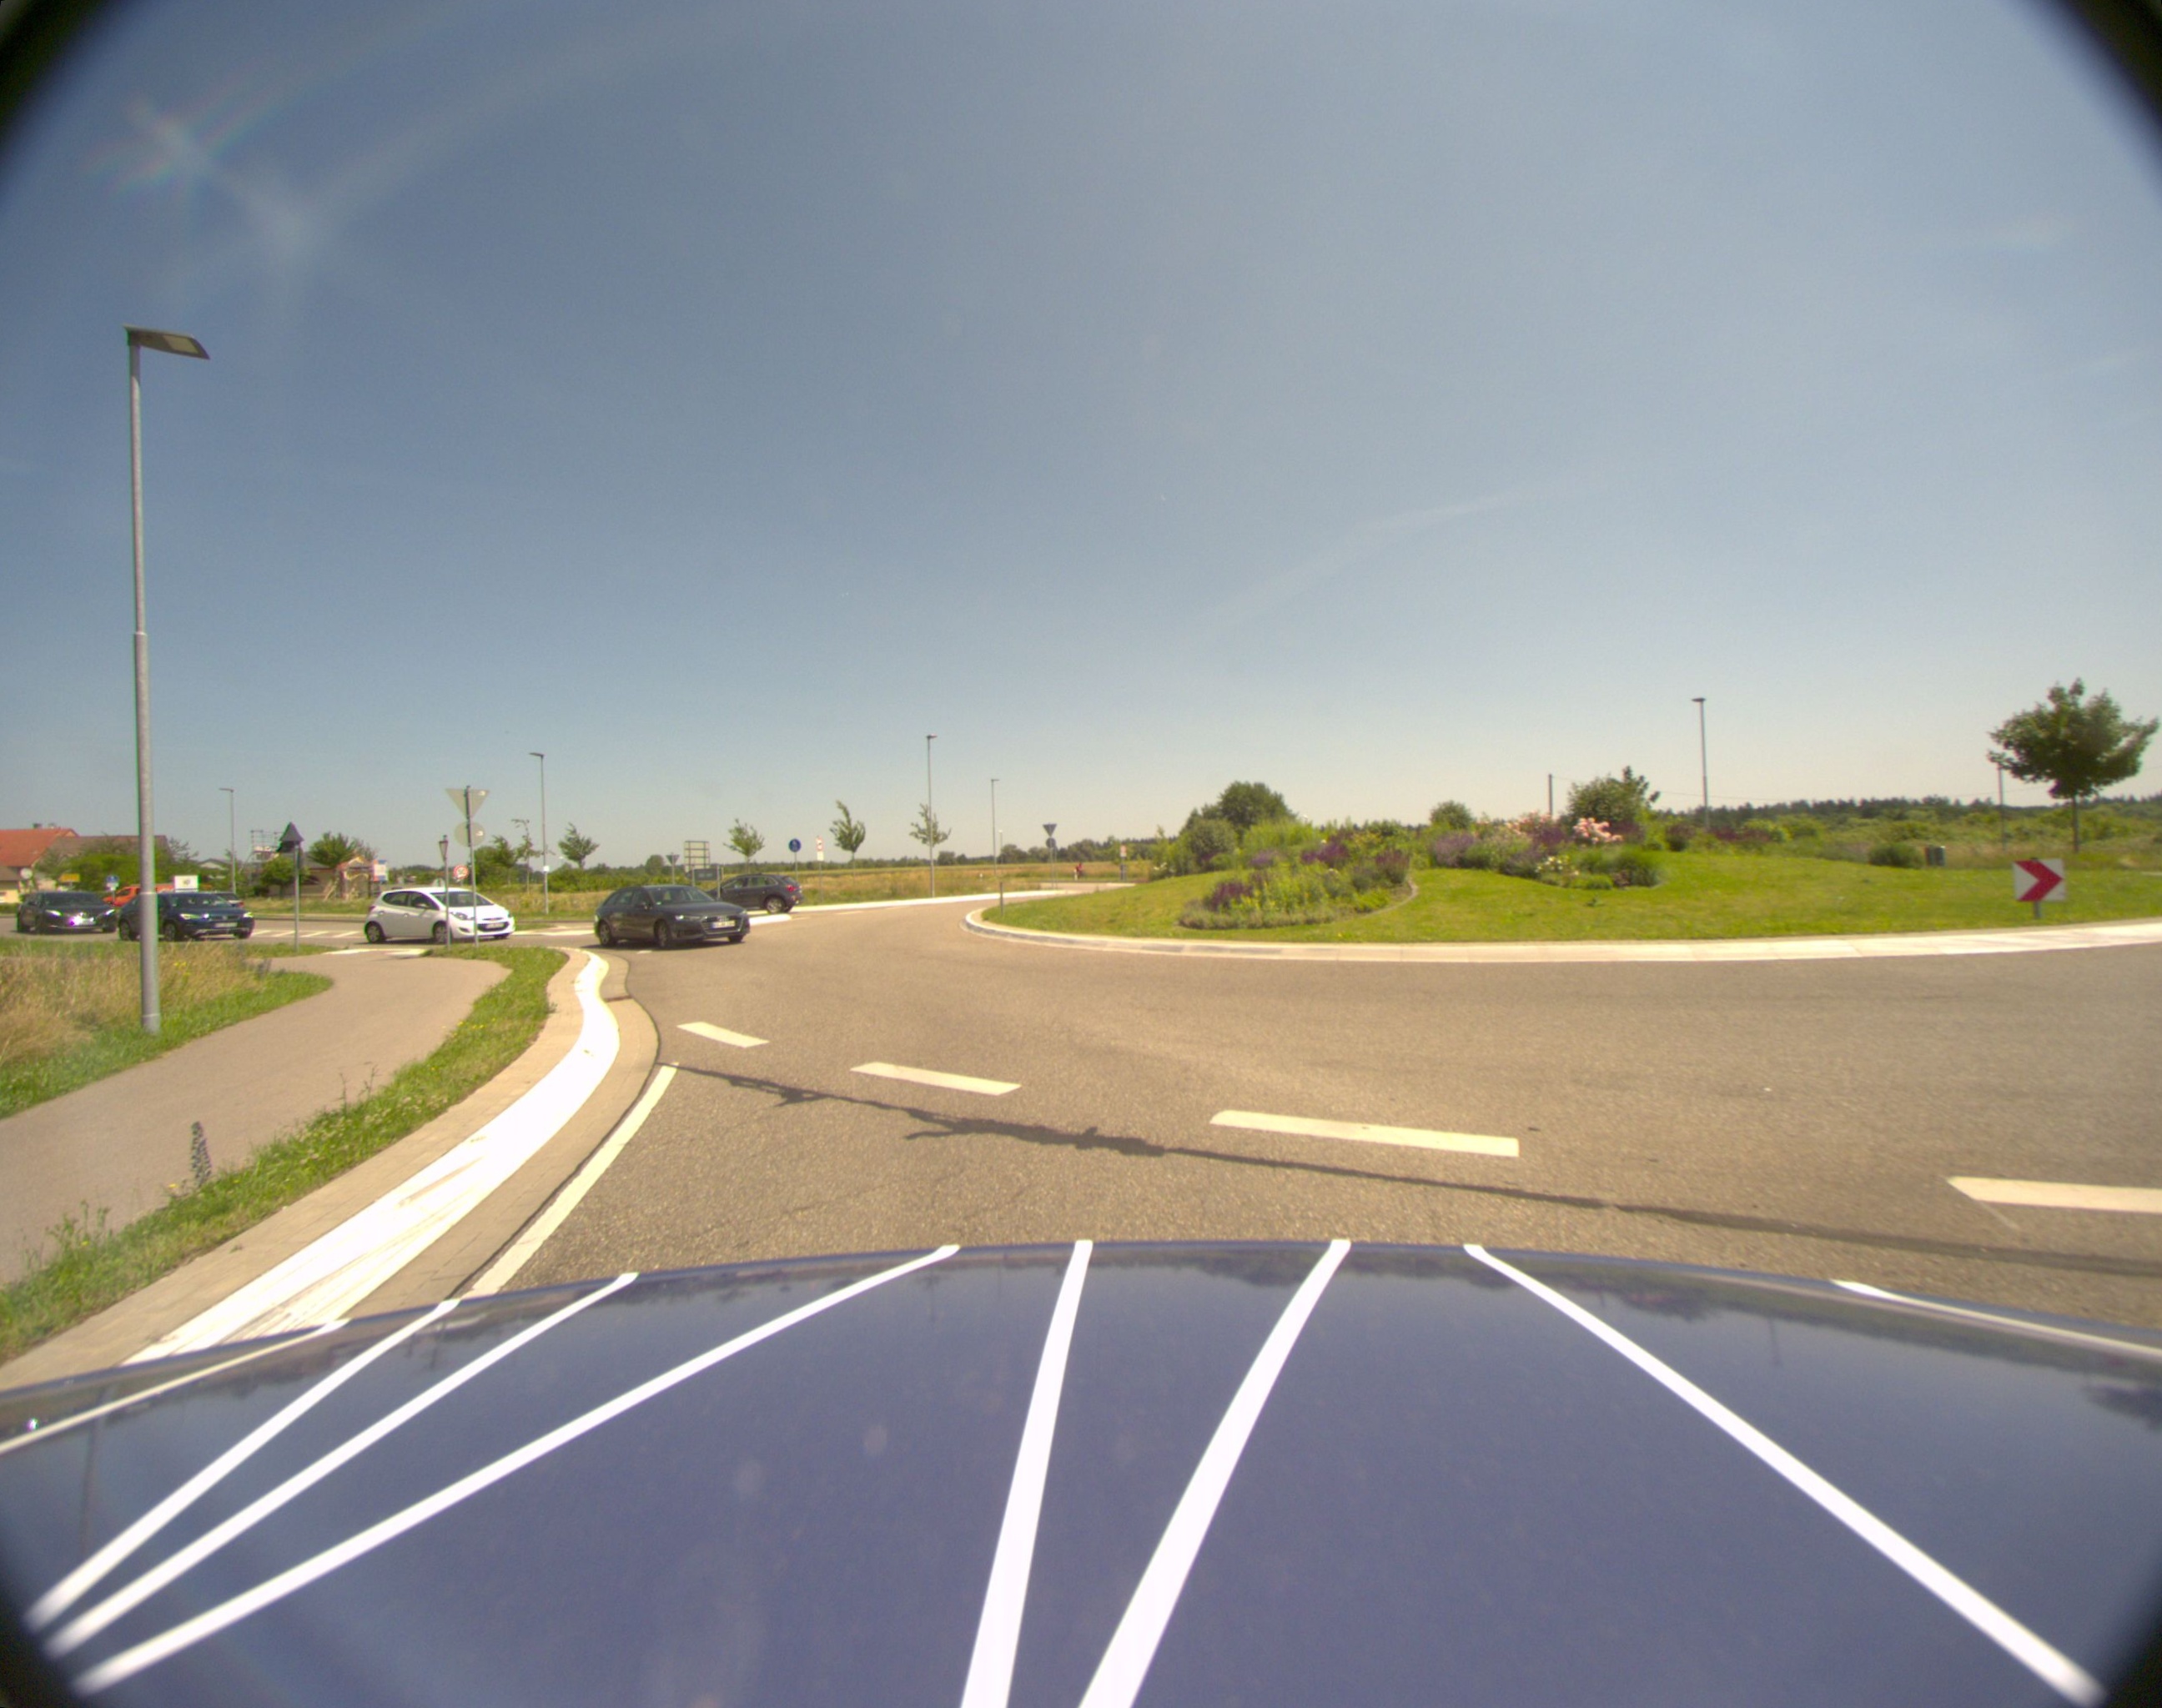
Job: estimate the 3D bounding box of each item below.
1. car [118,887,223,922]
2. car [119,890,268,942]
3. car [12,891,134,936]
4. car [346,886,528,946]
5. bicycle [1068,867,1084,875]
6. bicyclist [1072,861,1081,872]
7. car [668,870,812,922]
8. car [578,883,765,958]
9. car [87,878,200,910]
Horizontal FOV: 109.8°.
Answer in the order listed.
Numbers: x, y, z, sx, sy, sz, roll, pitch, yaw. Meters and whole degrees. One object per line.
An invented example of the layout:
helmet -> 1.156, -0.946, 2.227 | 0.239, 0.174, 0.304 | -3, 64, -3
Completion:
car -> -43.768, 2.427, 36.517 | 4.856, 1.482, 1.840 | -3, -1, 23
car -> -29.832, 2.090, 25.556 | 4.143, 1.552, 1.724 | -2, 1, 18
car -> -39.378, 2.295, 29.669 | 4.714, 1.552, 1.872 | -2, 1, 25
car -> -18.971, 1.831, 22.419 | 4.512, 1.552, 1.871 | -2, 1, 17
bicycle -> -0.444, 1.609, 73.646 | 1.466, 0.725, 0.580 | -2, 0, 37
bicyclist -> -0.434, 1.194, 73.640 | 0.722, 1.072, 0.580 | -2, 0, 38
car -> -13.511, 1.632, 30.403 | 4.891, 1.639, 1.952 | -3, 0, -13
car -> -9.649, 1.455, 17.802 | 4.508, 1.426, 1.872 | -2, 2, 34
car -> -86.520, 3.658, 70.259 | 6.142, 2.568, 2.353 | -2, -1, -21
